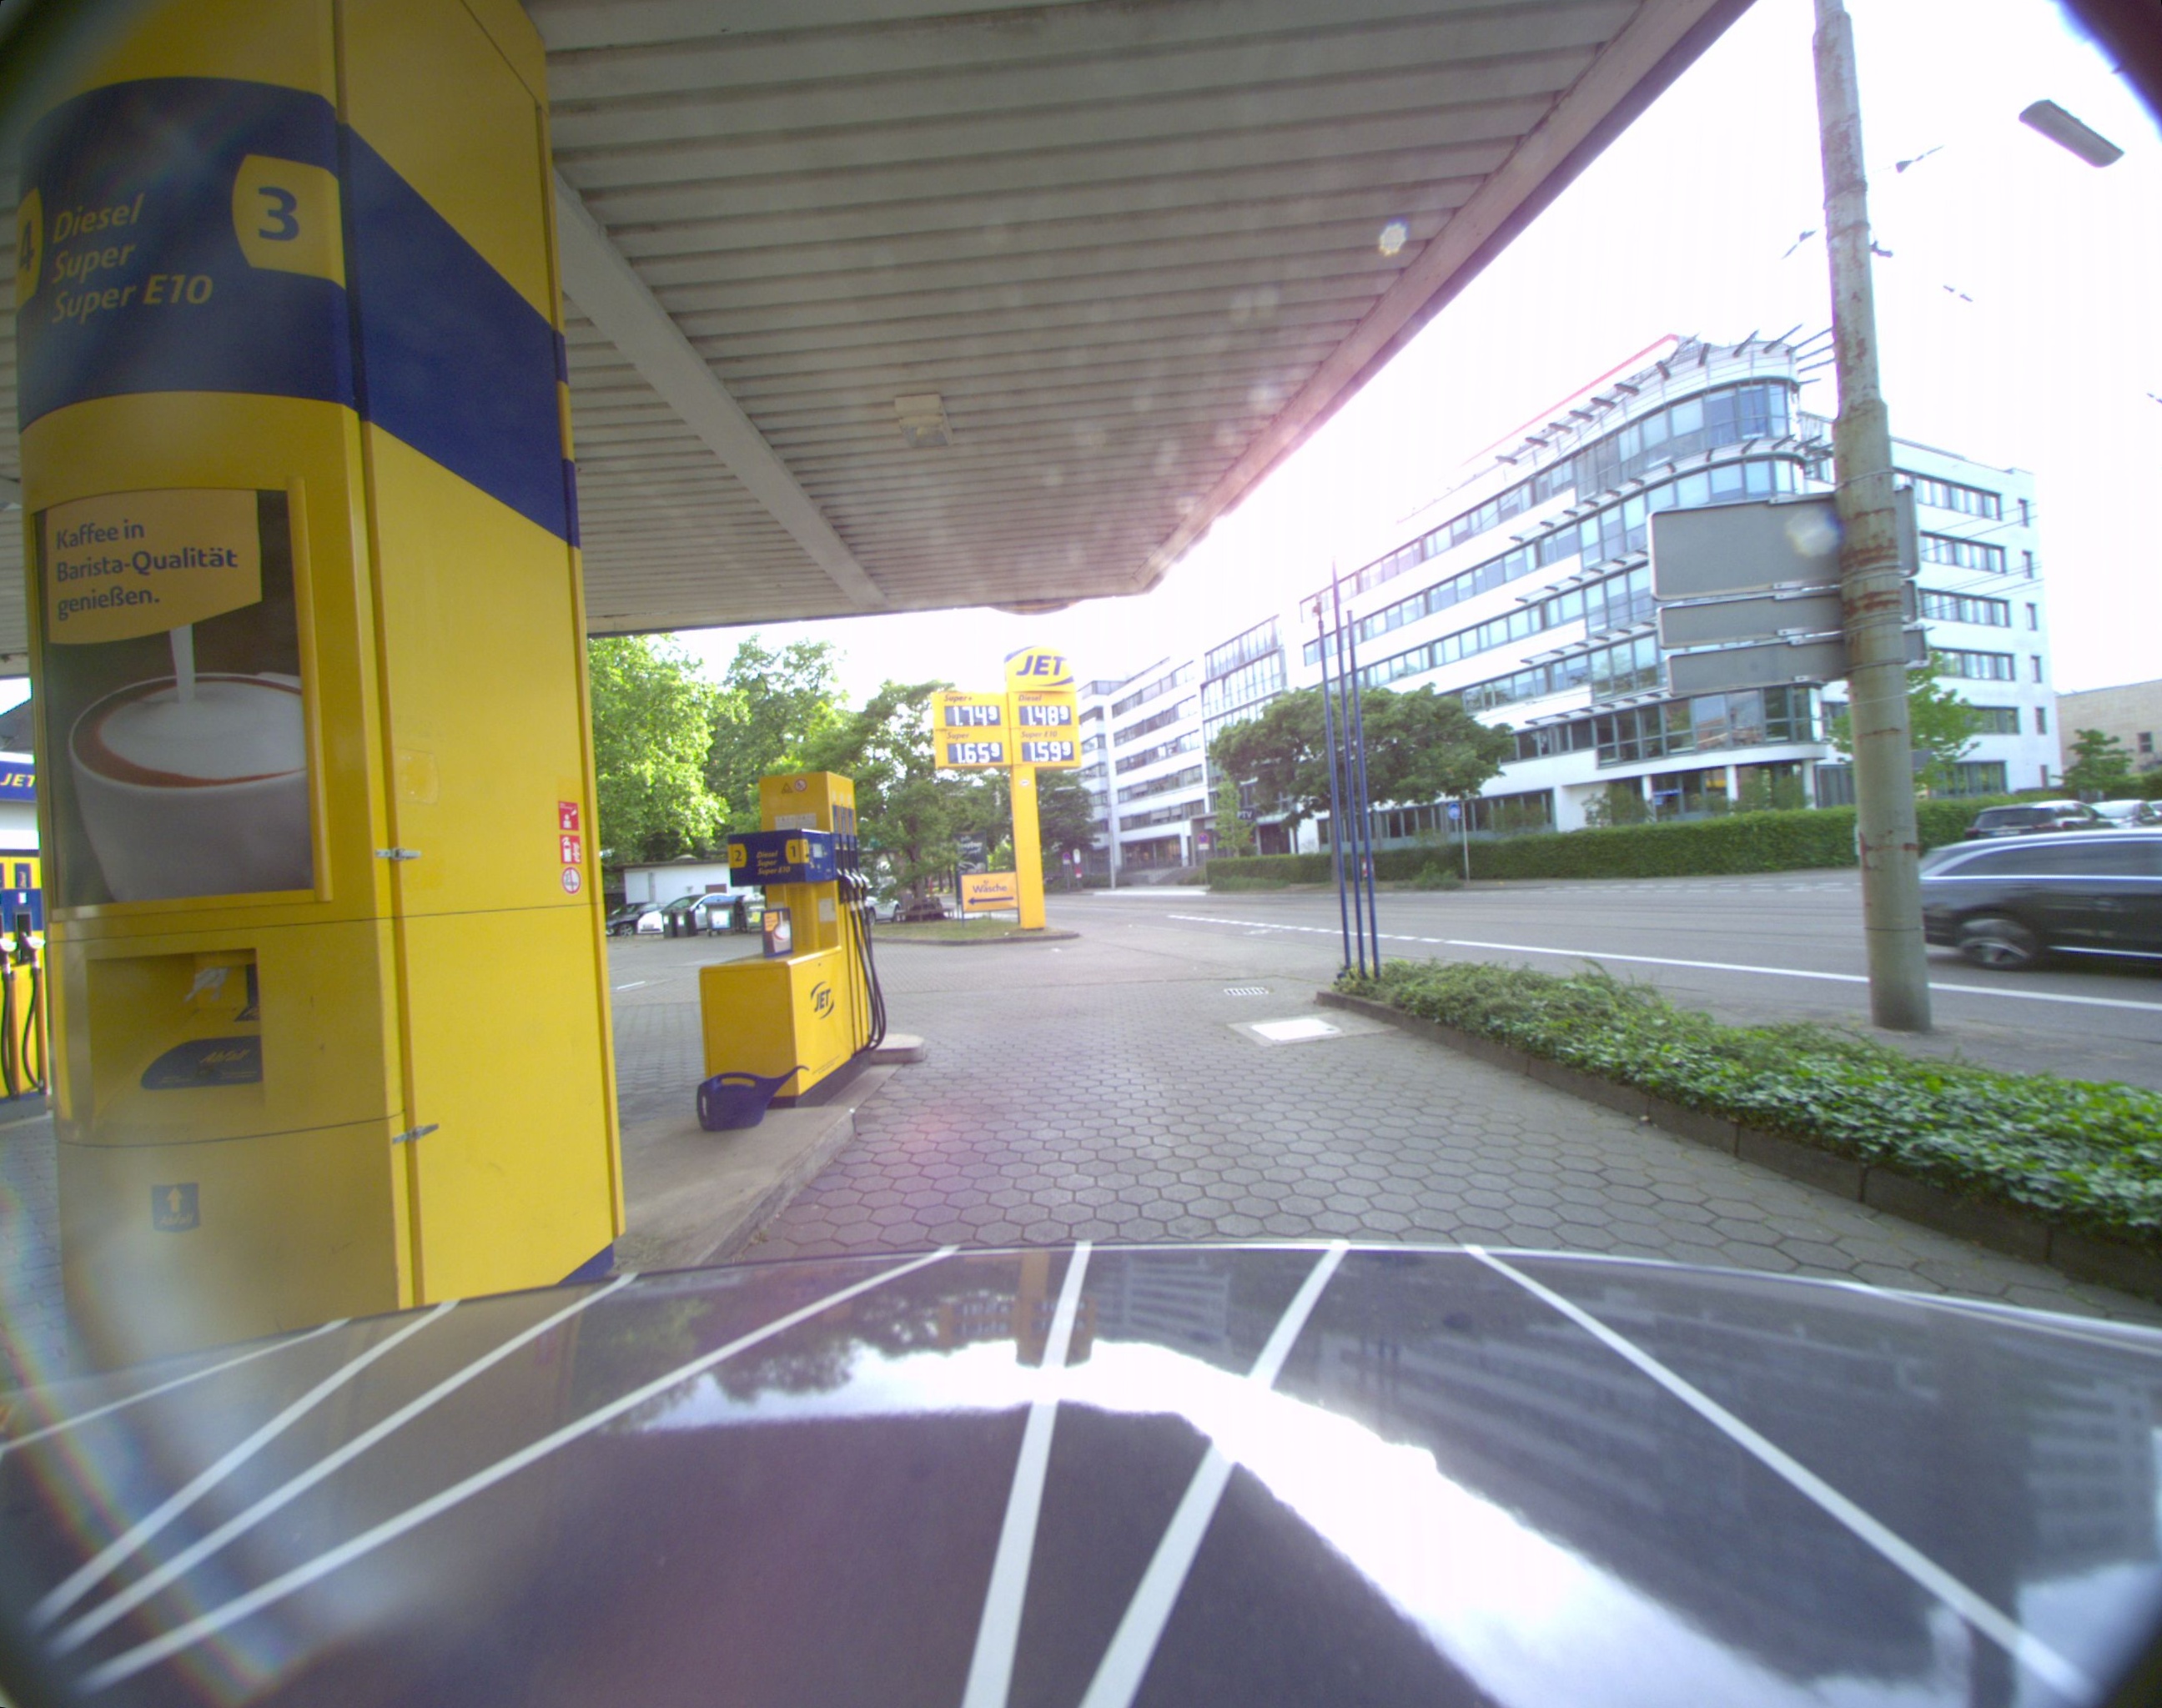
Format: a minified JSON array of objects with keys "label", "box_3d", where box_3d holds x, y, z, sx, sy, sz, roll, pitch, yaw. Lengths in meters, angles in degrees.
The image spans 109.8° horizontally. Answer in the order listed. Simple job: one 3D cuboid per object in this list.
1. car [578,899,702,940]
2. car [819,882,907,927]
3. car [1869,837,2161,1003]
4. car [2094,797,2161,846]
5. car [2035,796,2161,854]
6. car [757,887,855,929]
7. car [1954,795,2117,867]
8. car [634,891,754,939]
[{"label":"car","box_3d":[-17.792,2.605,30.914,1.771,1.367,4.398,-2,-1,14]},{"label":"car","box_3d":[-8.634,2.014,30.509,1.772,1.591,4.398,-4,-4,6]},{"label":"car","box_3d":[10.900,0.589,7.093,1.755,1.460,4.565,-4,-1,-17]},{"label":"car","box_3d":[37.129,-1.196,26.156,4.296,1.509,1.945,-4,-1,-27]},{"label":"car","box_3d":[32.547,-0.939,24.103,4.296,1.530,1.945,-4,-1,-27]},{"label":"car","box_3d":[-11.653,2.280,32.500,1.771,1.591,4.400,-4,-4,13]},{"label":"car","box_3d":[27.276,-0.661,21.700,4.296,1.681,2.010,-4,-1,-27]},{"label":"car","box_3d":[-15.290,2.379,30.321,1.771,1.591,4.398,-2,-1,14]}]
